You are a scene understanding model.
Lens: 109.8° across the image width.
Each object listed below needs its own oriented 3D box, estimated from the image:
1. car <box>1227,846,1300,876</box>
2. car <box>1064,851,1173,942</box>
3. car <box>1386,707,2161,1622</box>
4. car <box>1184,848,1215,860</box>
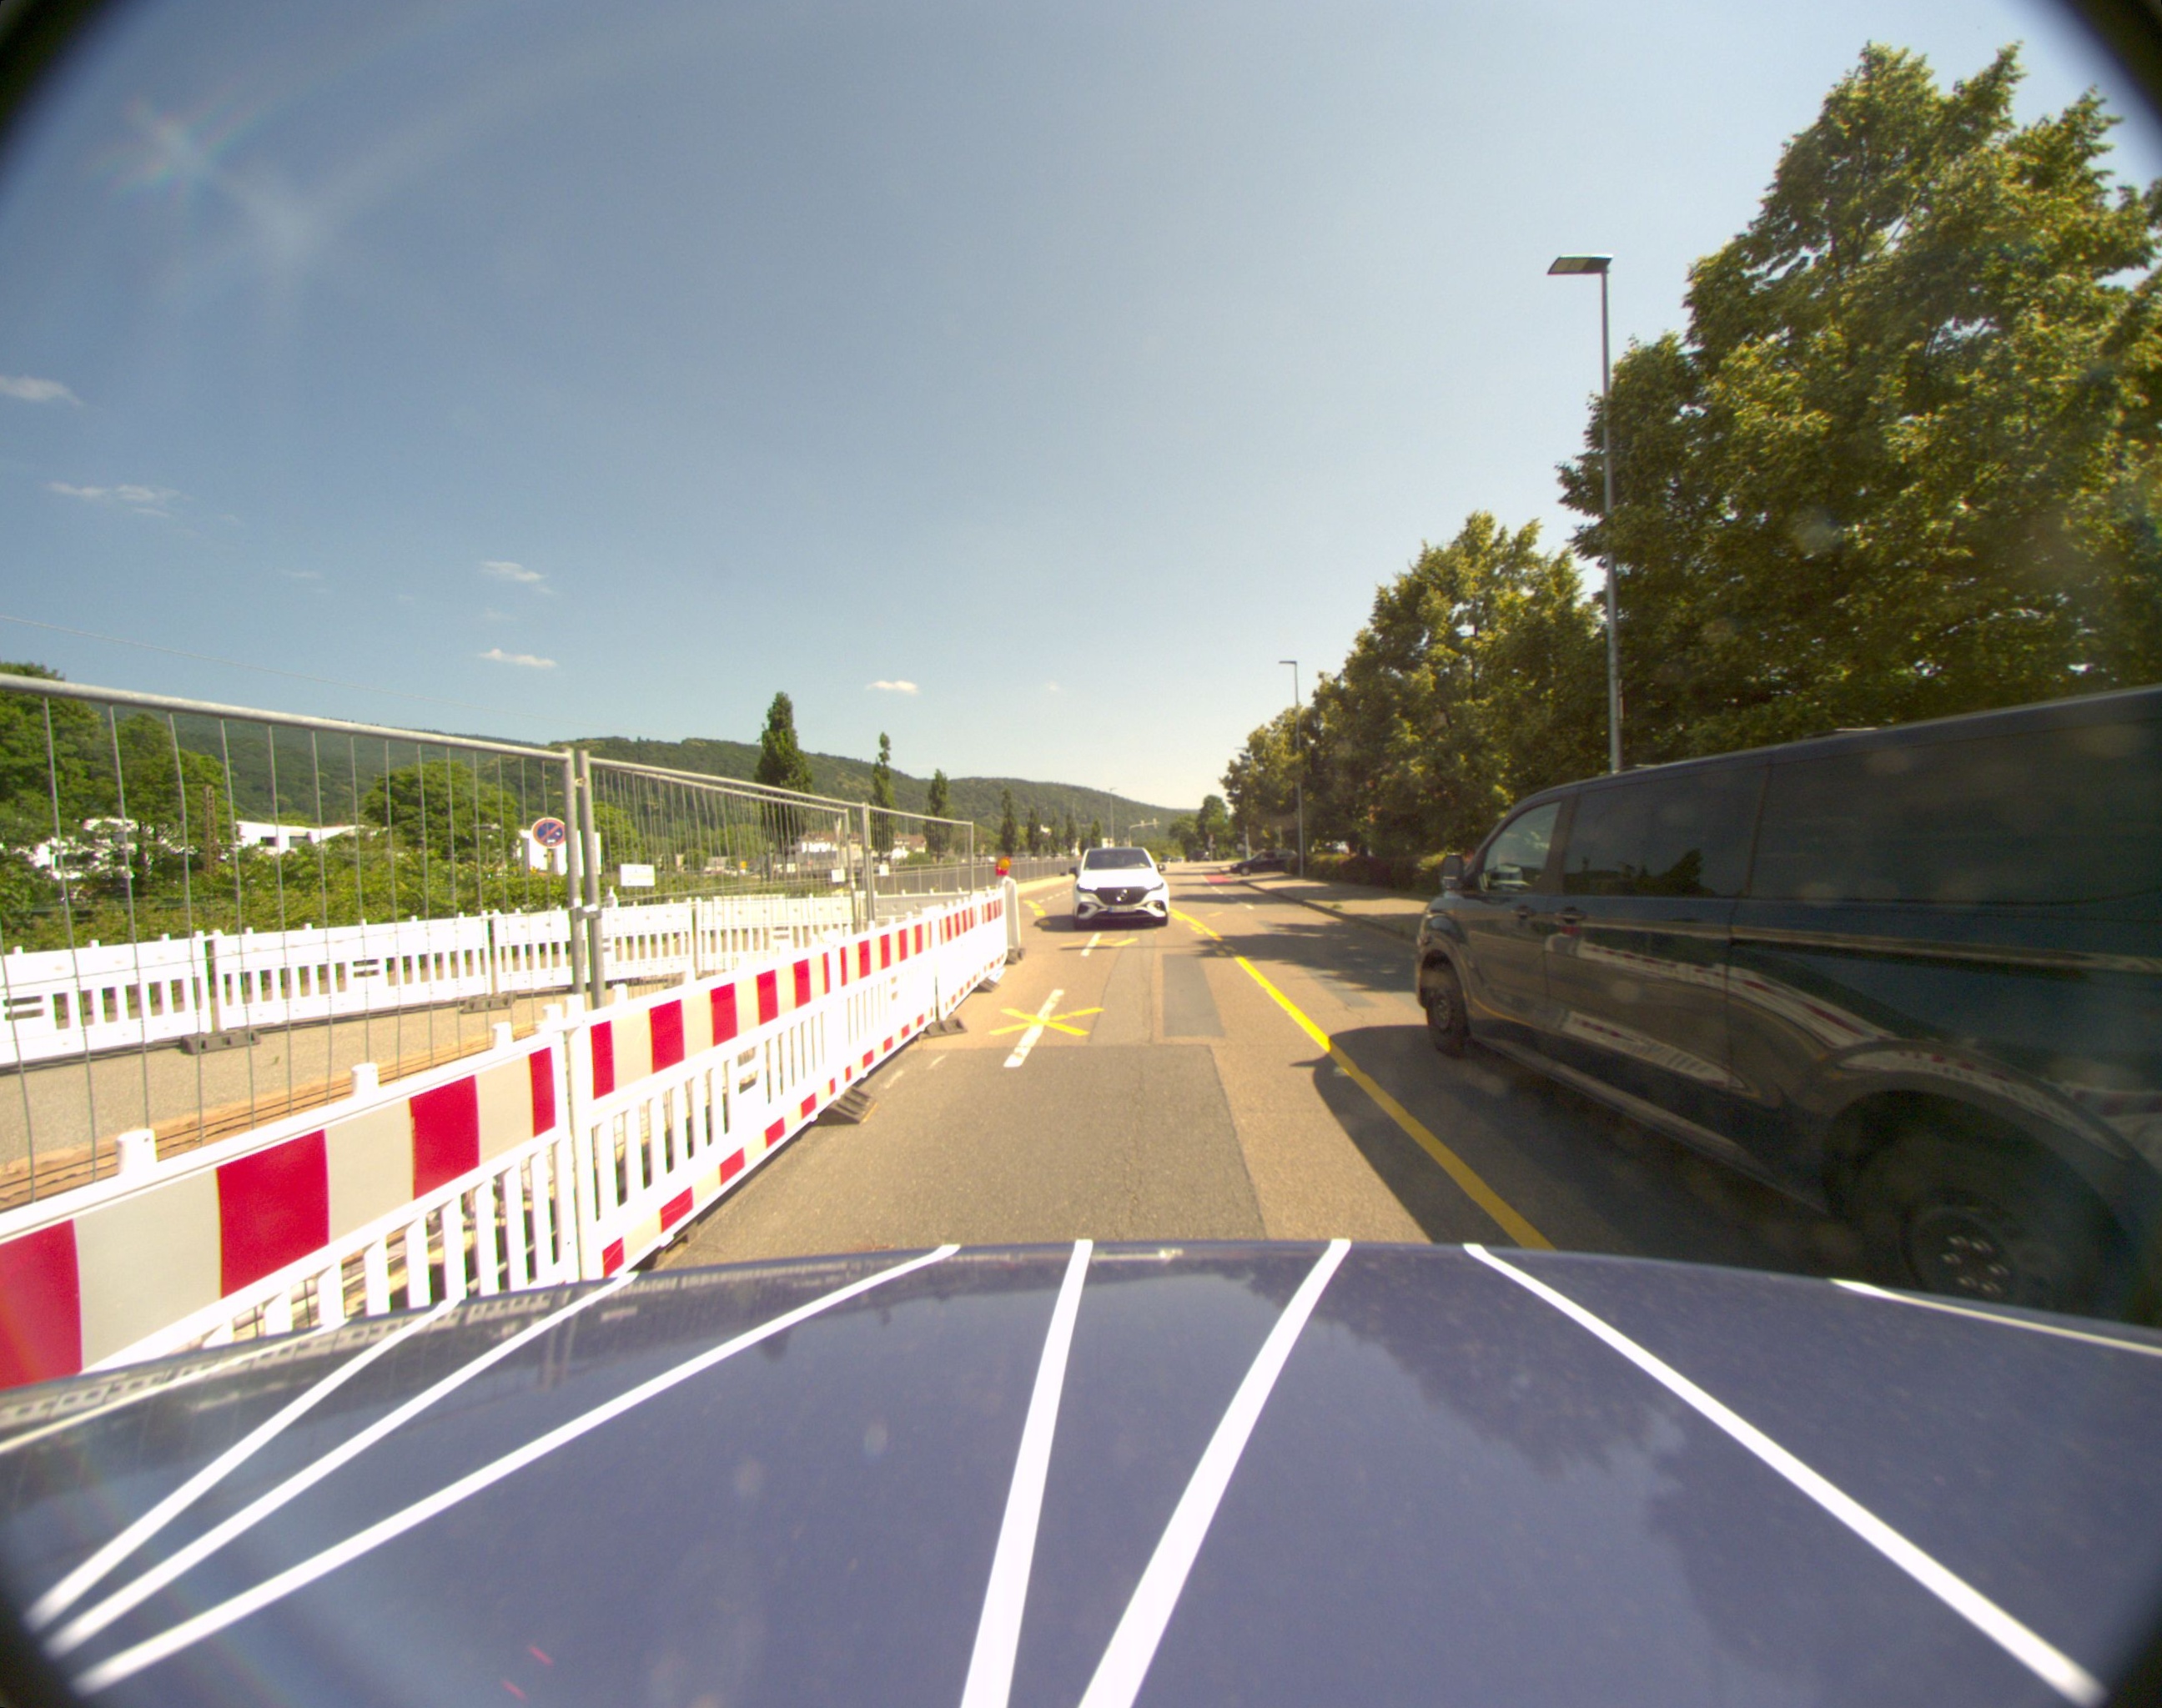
[{"bbox_3d":[10.754,0.380,45.101,3.994,1.455,1.882,-4,1,9],"label":"car"},{"bbox_3d":[0.789,0.777,16.622,1.998,1.635,5.032,-2,0,2],"label":"car"},{"bbox_3d":[3.522,0.642,3.611,2.181,1.957,5.445,1,1,3],"label":"car"},{"bbox_3d":[16.319,0.019,104.861,2.003,1.635,4.518,-1,1,-27],"label":"car"}]
